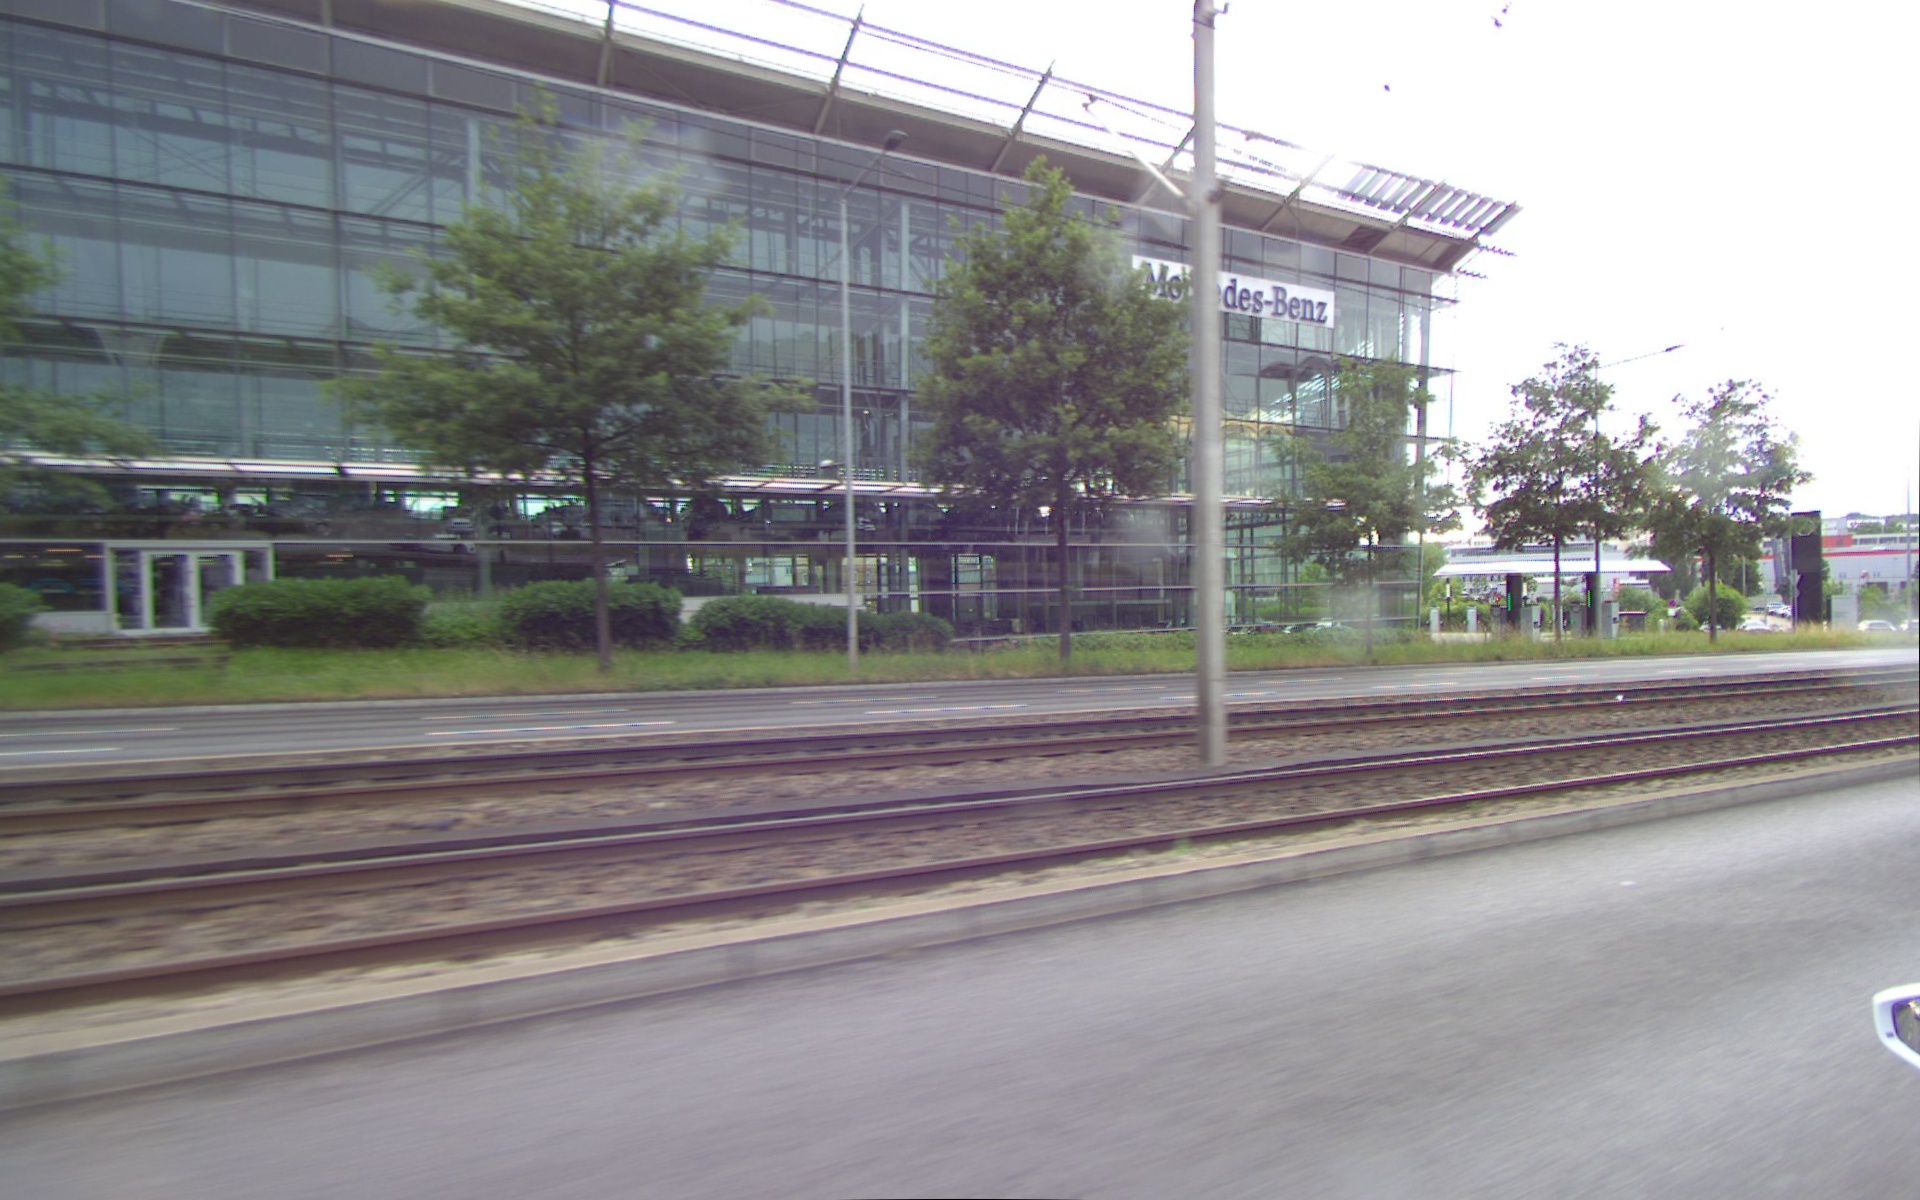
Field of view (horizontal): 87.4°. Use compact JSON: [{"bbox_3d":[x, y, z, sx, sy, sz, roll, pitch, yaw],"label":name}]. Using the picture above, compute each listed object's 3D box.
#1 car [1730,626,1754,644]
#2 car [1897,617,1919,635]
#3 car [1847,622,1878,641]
[{"bbox_3d":[73.379,3.264,94.228,1.730,1.514,3.982,3,0,39],"label":"car"},{"bbox_3d":[83.023,2.265,87.503,1.730,1.514,3.982,3,0,39],"label":"car"},{"bbox_3d":[80.498,2.799,89.632,1.730,1.514,3.982,3,0,39],"label":"car"}]
